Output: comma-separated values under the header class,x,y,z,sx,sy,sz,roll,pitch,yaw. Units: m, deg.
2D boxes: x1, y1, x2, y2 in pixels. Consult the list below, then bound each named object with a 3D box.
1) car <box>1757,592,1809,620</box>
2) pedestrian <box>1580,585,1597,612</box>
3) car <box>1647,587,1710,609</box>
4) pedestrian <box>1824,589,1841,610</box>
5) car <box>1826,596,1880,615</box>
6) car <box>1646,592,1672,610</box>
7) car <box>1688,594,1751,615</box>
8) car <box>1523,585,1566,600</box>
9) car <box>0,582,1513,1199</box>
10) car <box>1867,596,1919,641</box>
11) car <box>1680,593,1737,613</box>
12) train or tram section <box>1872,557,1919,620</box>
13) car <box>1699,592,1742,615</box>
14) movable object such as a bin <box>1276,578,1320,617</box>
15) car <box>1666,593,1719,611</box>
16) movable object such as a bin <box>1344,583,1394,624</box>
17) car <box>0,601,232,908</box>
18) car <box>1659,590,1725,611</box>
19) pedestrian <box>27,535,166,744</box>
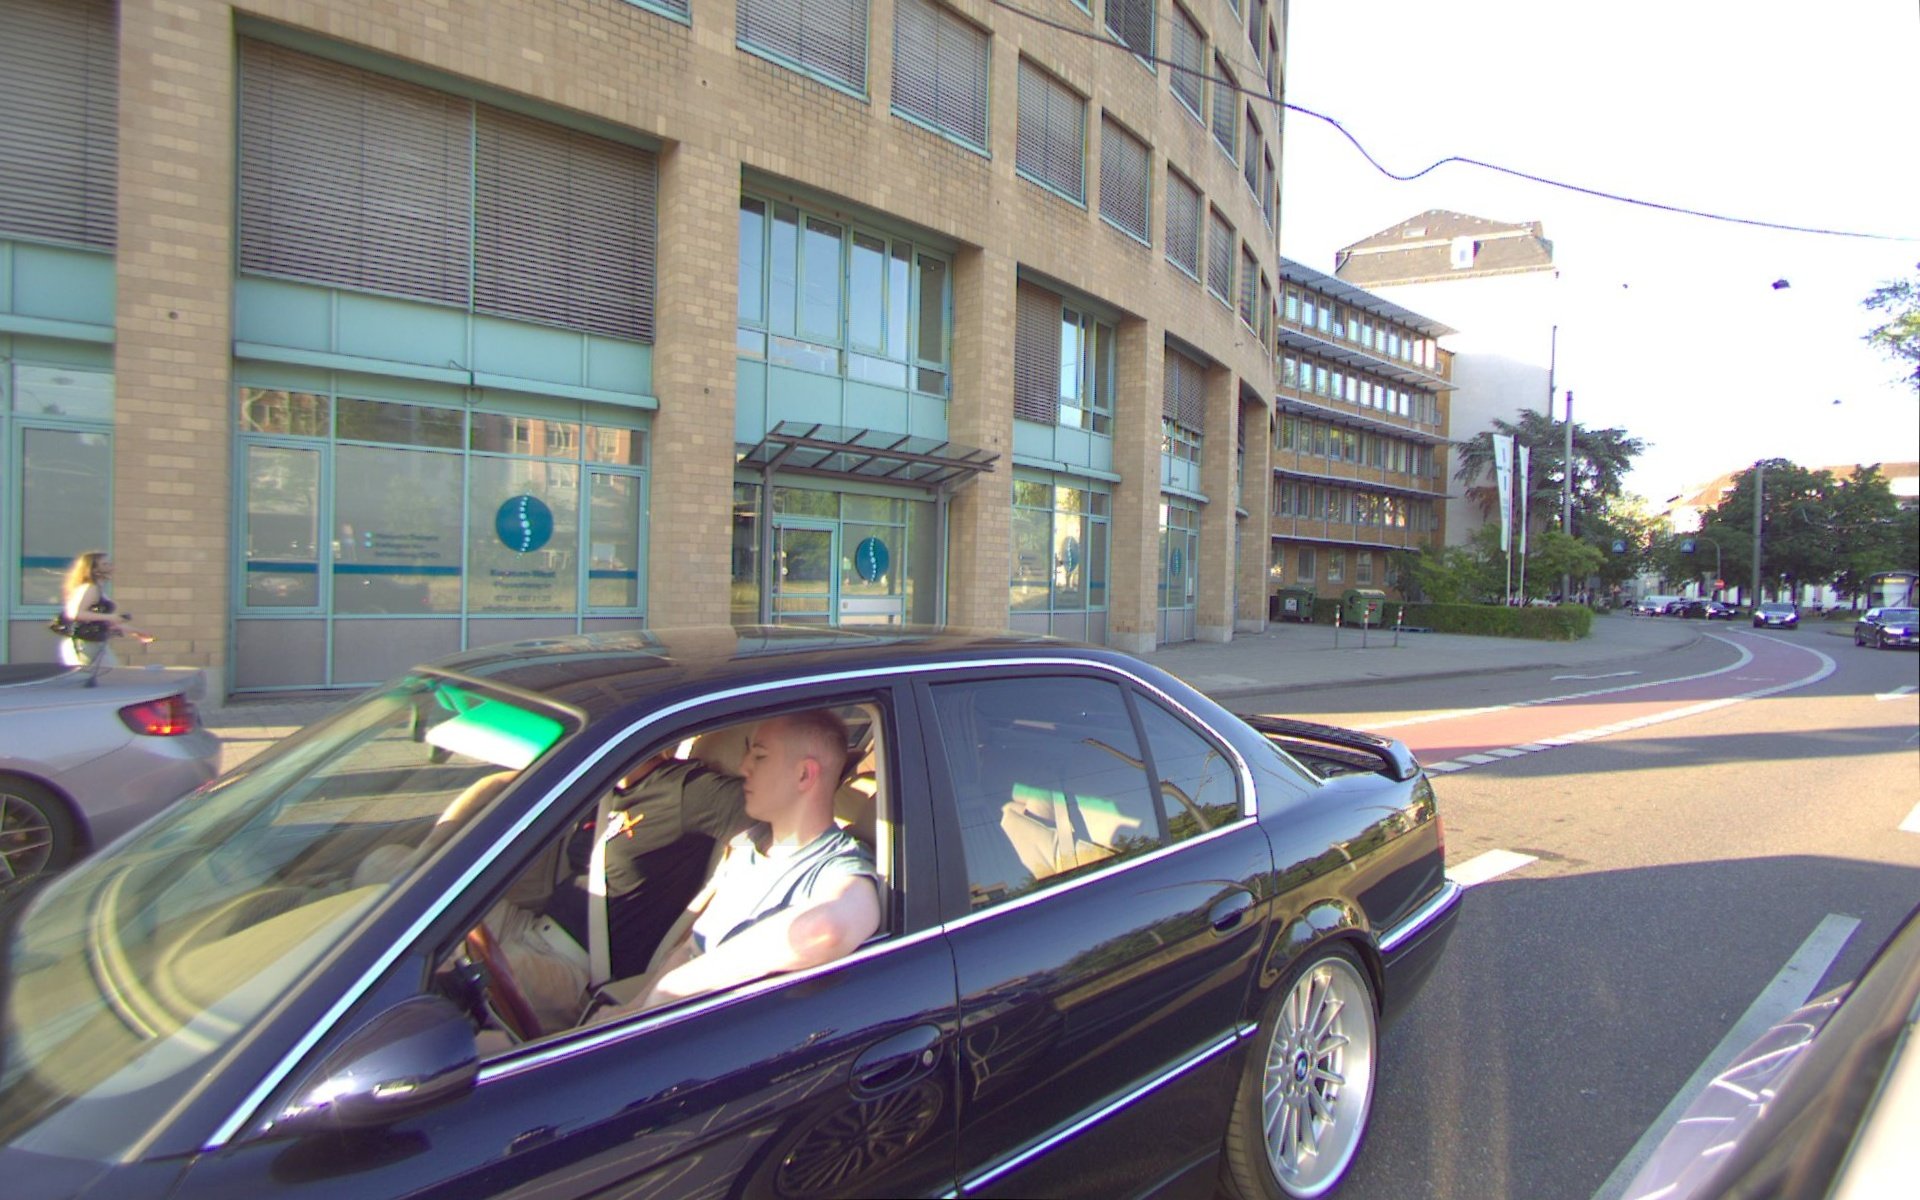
class,x,y,z,sx,sy,sz,roll,pitch,yaw
car,47.390,0.368,58.348,1.808,1.501,4.086,3,1,33
pedestrian,42.748,-0.115,68.833,0.805,1.814,0.593,2,0,-30
car,76.536,-0.252,107.875,1.932,2.047,5.078,2,1,-39
pedestrian,88.713,-0.029,102.902,0.988,2.039,0.831,2,0,-12
car,92.453,0.521,104.827,1.672,1.746,4.007,2,1,-42
car,62.369,0.122,90.301,1.809,1.501,4.084,2,0,34
car,63.609,0.349,84.779,4.055,1.576,1.837,3,1,43
car,71.883,-0.941,124.544,4.356,1.633,1.713,3,1,27
car,-0.629,0.679,2.240,4.560,1.371,1.833,1,0,-42
car,33.432,0.670,35.427,1.808,1.501,4.087,3,1,32
car,69.555,0.257,94.056,4.055,1.638,1.969,3,1,43
train or tram section,60.206,-0.660,62.192,13.108,3.629,2.952,0,1,-34
car,54.146,0.241,72.133,1.805,1.501,4.093,3,1,29
movable object such as a bin,13.177,-0.085,39.445,1.340,1.442,0.910,3,1,42
car,73.142,0.186,101.011,4.055,1.571,1.969,3,1,43
movable object such as a bin,14.934,0.123,36.953,1.317,1.455,0.976,2,0,-22
car,-5.902,0.692,4.482,4.192,1.371,1.786,1,0,-41
car,75.804,0.023,104.857,2.083,1.926,5.078,2,1,-39
pedestrian,-6.988,0.293,8.190,0.786,1.589,0.677,2,0,-43
